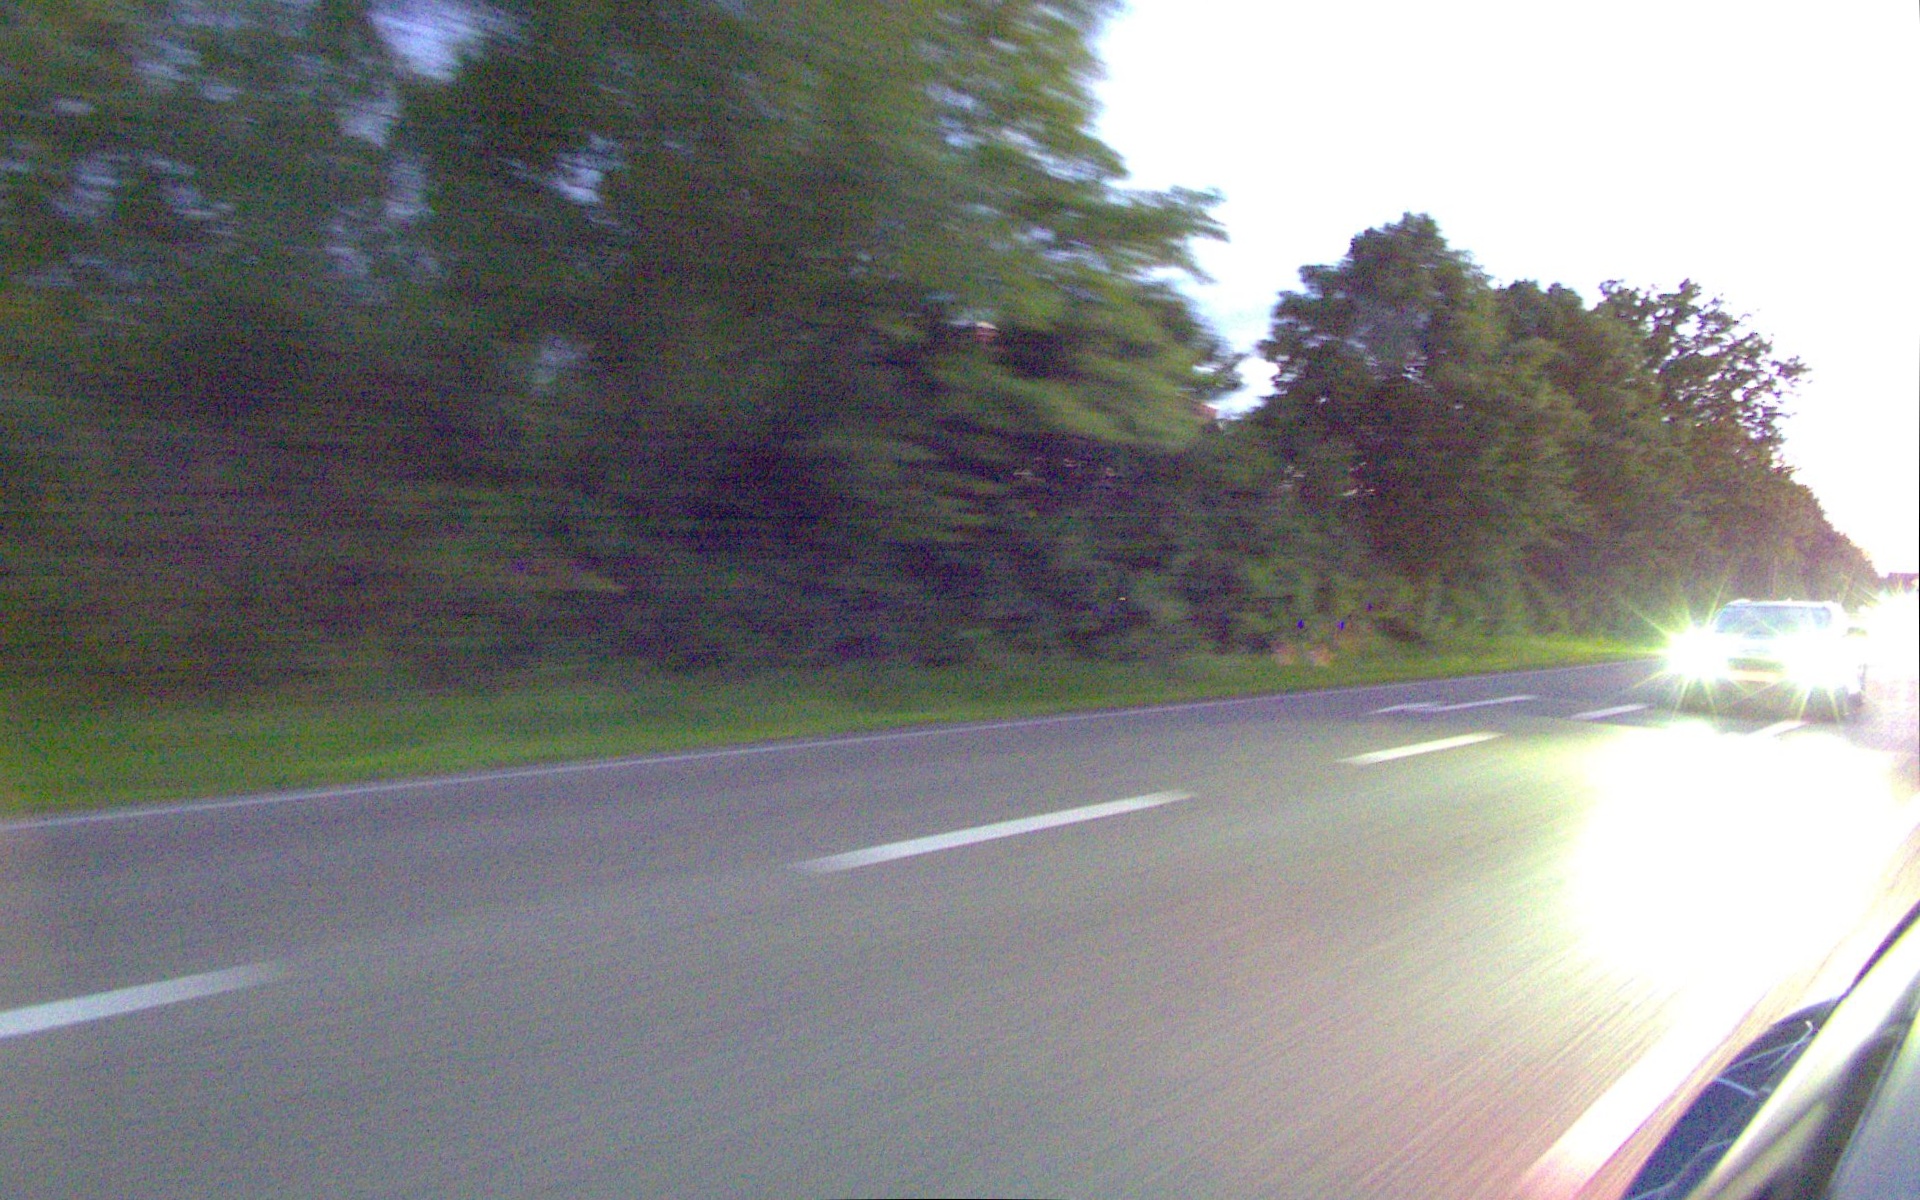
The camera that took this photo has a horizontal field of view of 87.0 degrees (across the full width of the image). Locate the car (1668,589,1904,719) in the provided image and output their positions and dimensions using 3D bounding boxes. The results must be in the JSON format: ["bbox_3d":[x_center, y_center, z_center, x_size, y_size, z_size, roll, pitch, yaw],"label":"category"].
[{"bbox_3d":[12.434,0.693,15.120,4.629,1.630,1.997,1,0,-41],"label":"car"}]
